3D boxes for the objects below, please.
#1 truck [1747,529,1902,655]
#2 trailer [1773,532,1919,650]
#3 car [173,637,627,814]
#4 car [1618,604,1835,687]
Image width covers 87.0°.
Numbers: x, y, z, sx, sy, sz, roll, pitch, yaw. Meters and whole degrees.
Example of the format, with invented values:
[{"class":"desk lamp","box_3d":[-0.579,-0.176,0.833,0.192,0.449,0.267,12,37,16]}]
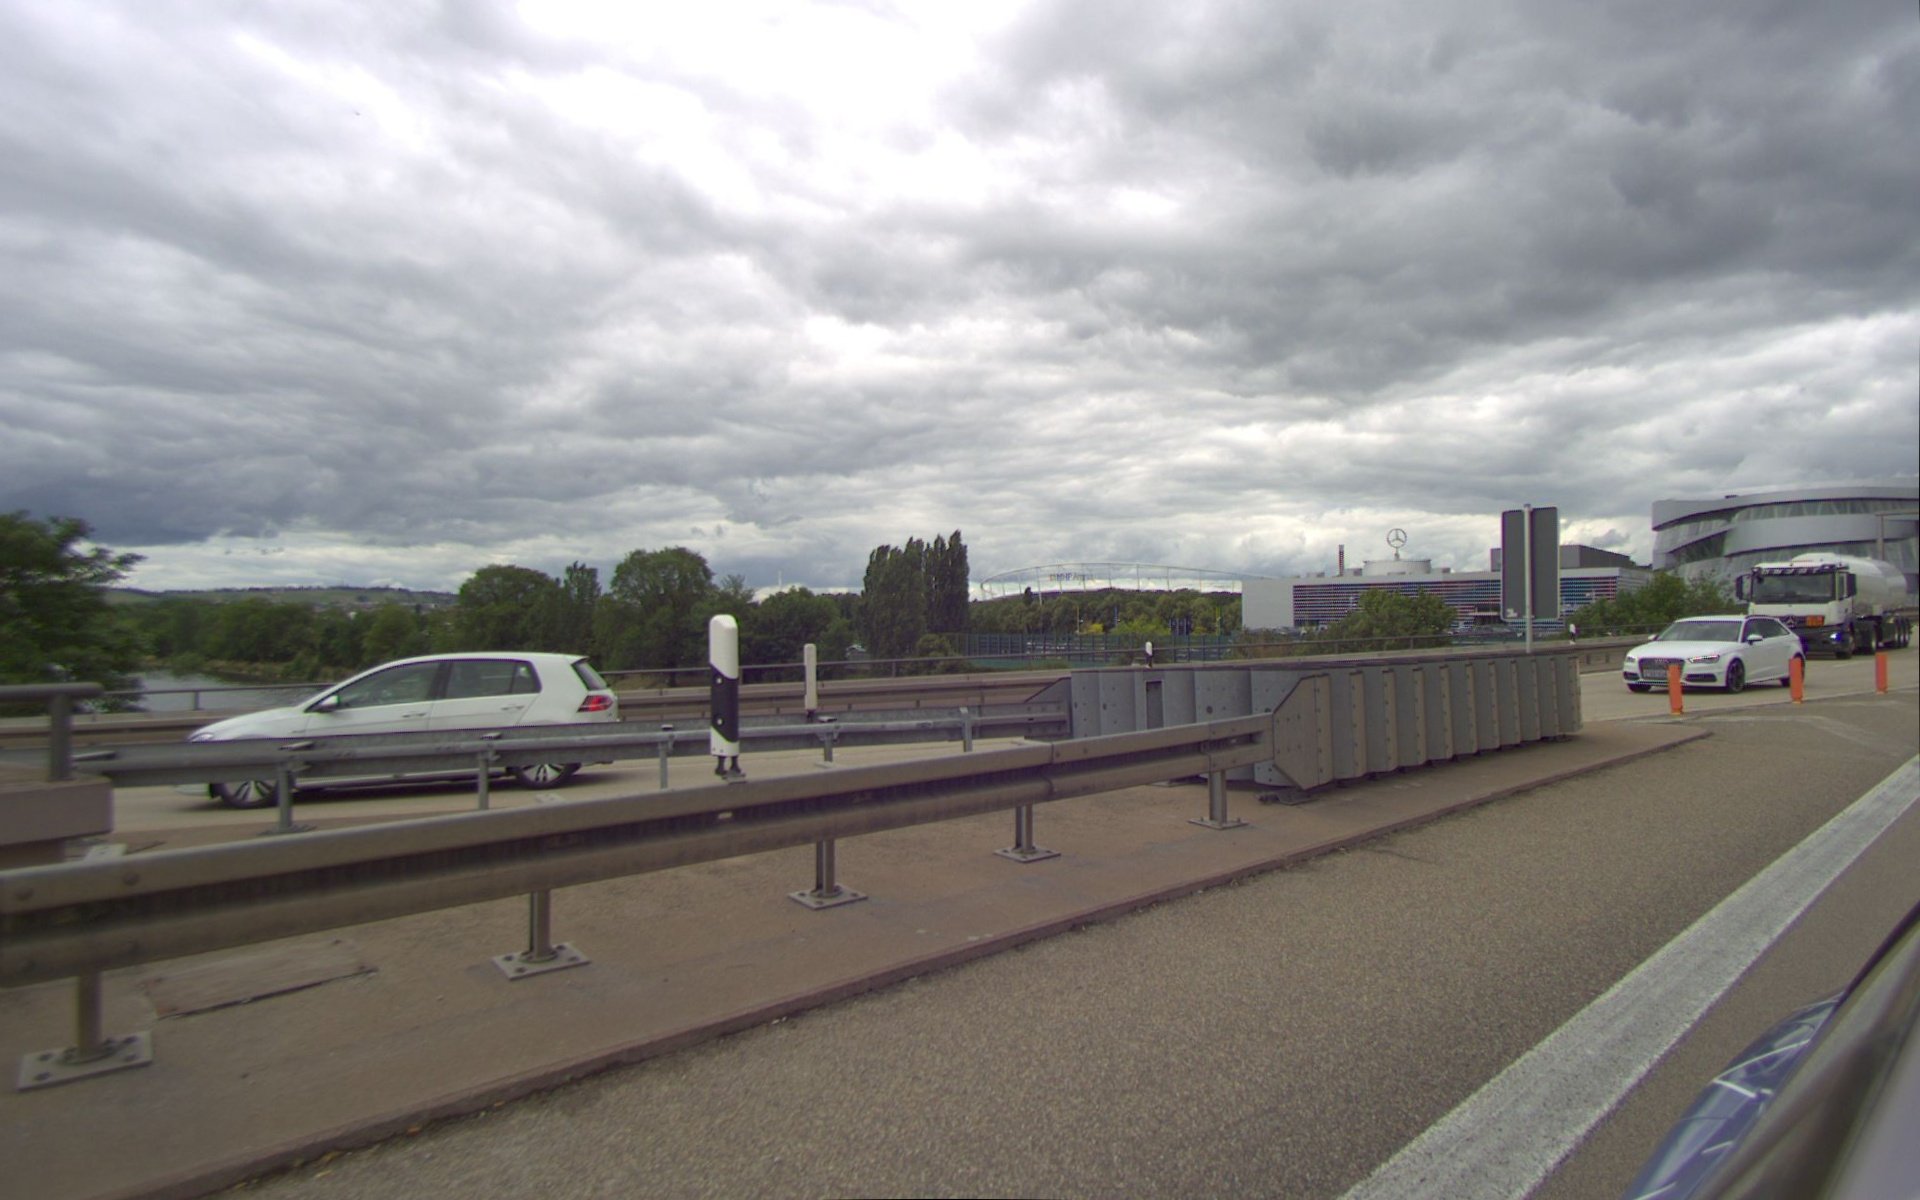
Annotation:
[{"class":"truck","box_3d":[27.945,-0.280,32.642,6.089,3.692,2.734,-1,0,-39]},{"class":"trailer","box_3d":[32.138,-0.332,36.161,10.810,3.696,2.745,-1,0,-40]},{"class":"car","box_3d":[-5.606,1.217,10.707,3.916,1.499,1.740,-1,-3,-18]},{"class":"car","box_3d":[14.816,0.862,19.552,3.855,1.428,1.791,-1,-4,-28]}]
